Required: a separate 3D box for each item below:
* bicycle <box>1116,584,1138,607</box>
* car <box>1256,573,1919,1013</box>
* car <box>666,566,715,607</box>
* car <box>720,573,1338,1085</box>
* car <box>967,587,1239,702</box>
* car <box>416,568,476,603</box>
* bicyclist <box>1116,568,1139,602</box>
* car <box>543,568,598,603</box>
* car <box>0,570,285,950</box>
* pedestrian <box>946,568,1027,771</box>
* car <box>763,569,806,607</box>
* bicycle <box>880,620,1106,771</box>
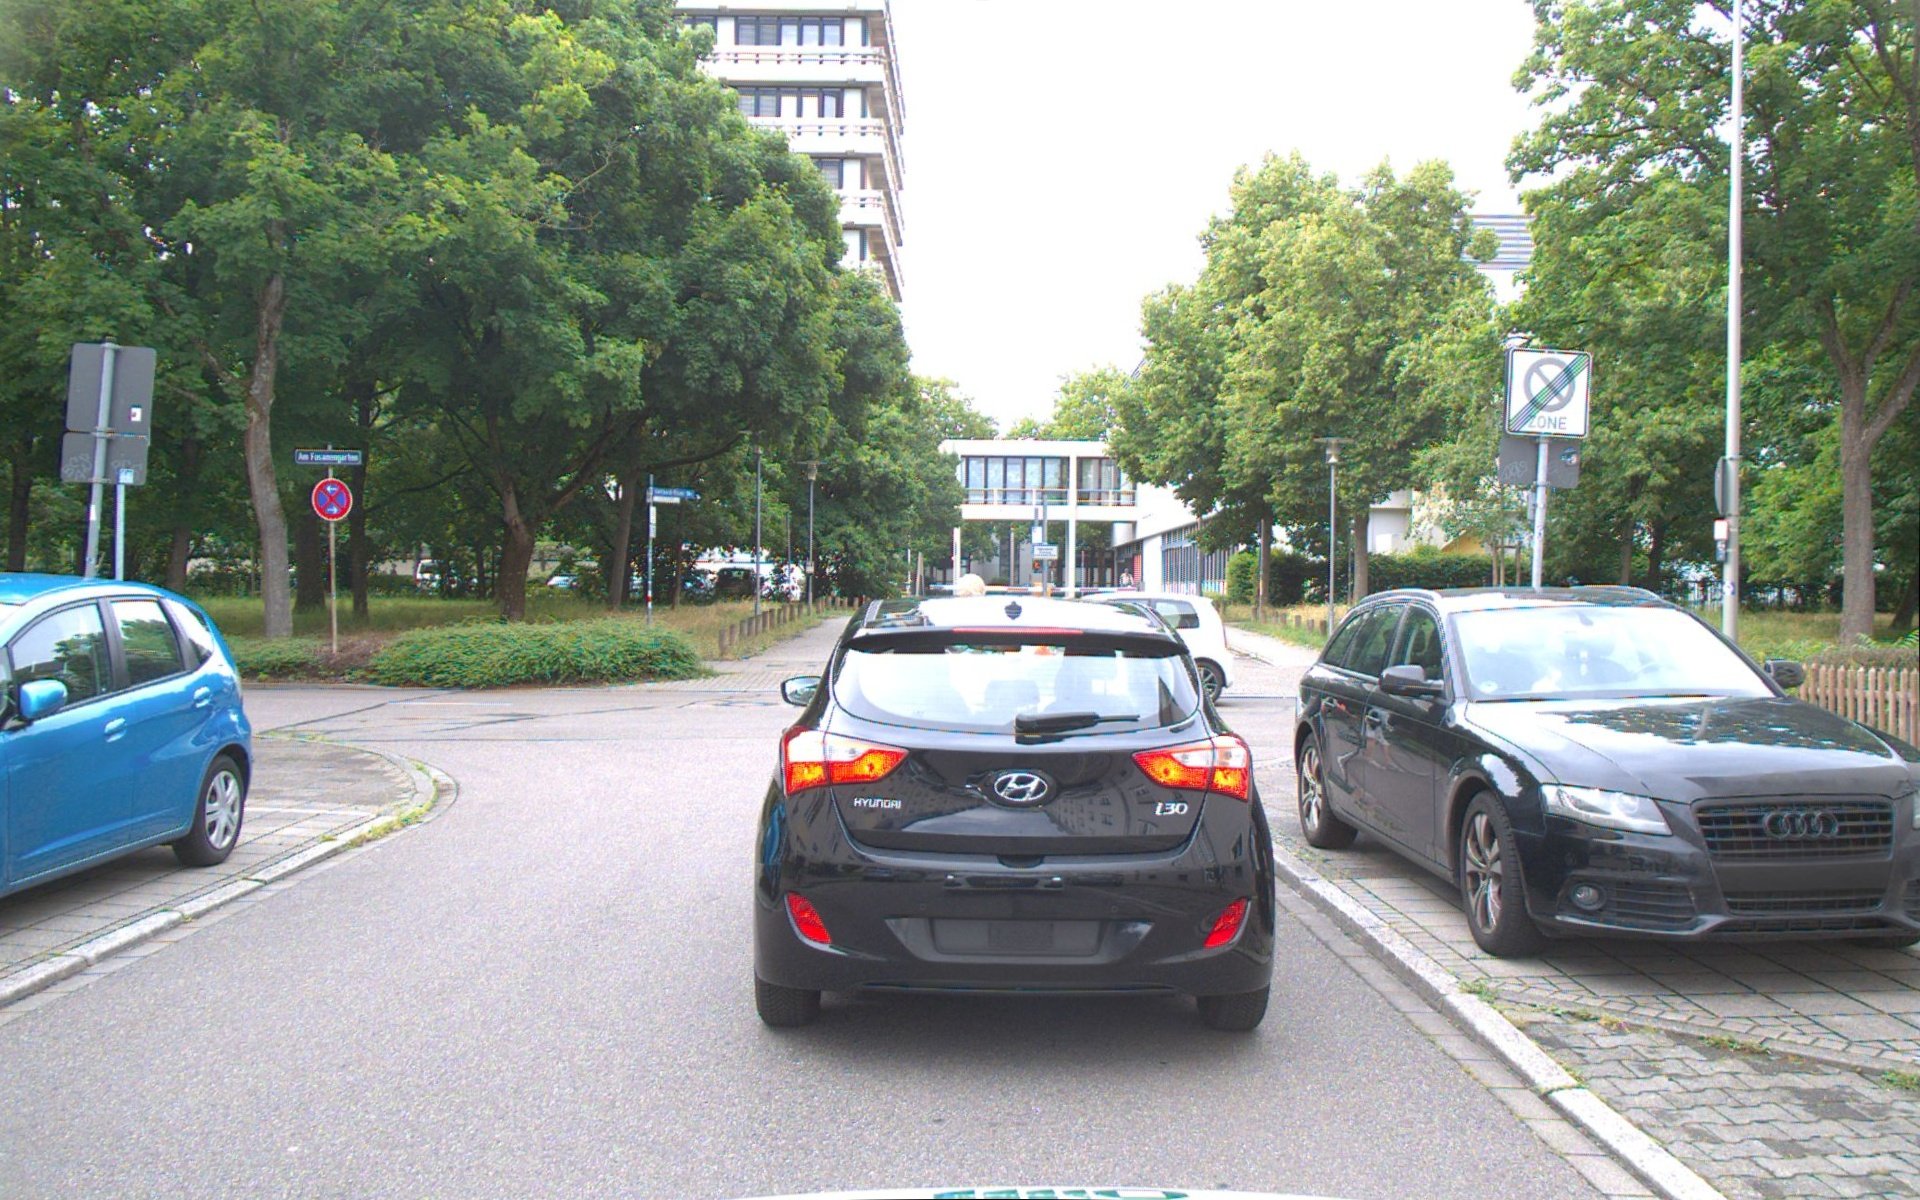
[{"bbox_3d":[8.227,-0.250,81.453,0.849,1.093,2.142,0,1,0],"label":"bicycle"},{"bbox_3d":[2.877,0.627,8.047,1.823,1.488,4.723,-1,1,-3],"label":"car"},{"bbox_3d":[-12.939,-0.624,79.598,1.954,1.825,3.996,0,-1,-5],"label":"car"},{"bbox_3d":[0.119,0.671,6.780,1.809,1.488,3.825,1,0,-3],"label":"car"},{"bbox_3d":[1.866,0.576,22.260,3.461,1.462,1.566,0,1,-3],"label":"car"},{"bbox_3d":[-24.730,-0.686,79.713,1.880,1.646,3.996,0,0,-5],"label":"car"},{"bbox_3d":[8.249,-0.760,81.536,0.996,1.673,0.923,0,1,0],"label":"bicyclist"},{"bbox_3d":[-18.645,-0.700,79.264,1.954,1.646,3.996,0,0,-5],"label":"car"},{"bbox_3d":[-4.748,0.632,7.583,1.695,1.488,3.956,3,1,-1],"label":"car"},{"bbox_3d":[0.212,0.542,13.258,0.555,1.576,0.447,-2,1,-8],"label":"pedestrian"},{"bbox_3d":[-8.438,-0.561,79.719,1.954,1.792,3.996,0,0,-5],"label":"car"},{"bbox_3d":[0.267,0.772,13.682,1.779,1.139,0.537,-2,1,-9],"label":"bicycle"}]
